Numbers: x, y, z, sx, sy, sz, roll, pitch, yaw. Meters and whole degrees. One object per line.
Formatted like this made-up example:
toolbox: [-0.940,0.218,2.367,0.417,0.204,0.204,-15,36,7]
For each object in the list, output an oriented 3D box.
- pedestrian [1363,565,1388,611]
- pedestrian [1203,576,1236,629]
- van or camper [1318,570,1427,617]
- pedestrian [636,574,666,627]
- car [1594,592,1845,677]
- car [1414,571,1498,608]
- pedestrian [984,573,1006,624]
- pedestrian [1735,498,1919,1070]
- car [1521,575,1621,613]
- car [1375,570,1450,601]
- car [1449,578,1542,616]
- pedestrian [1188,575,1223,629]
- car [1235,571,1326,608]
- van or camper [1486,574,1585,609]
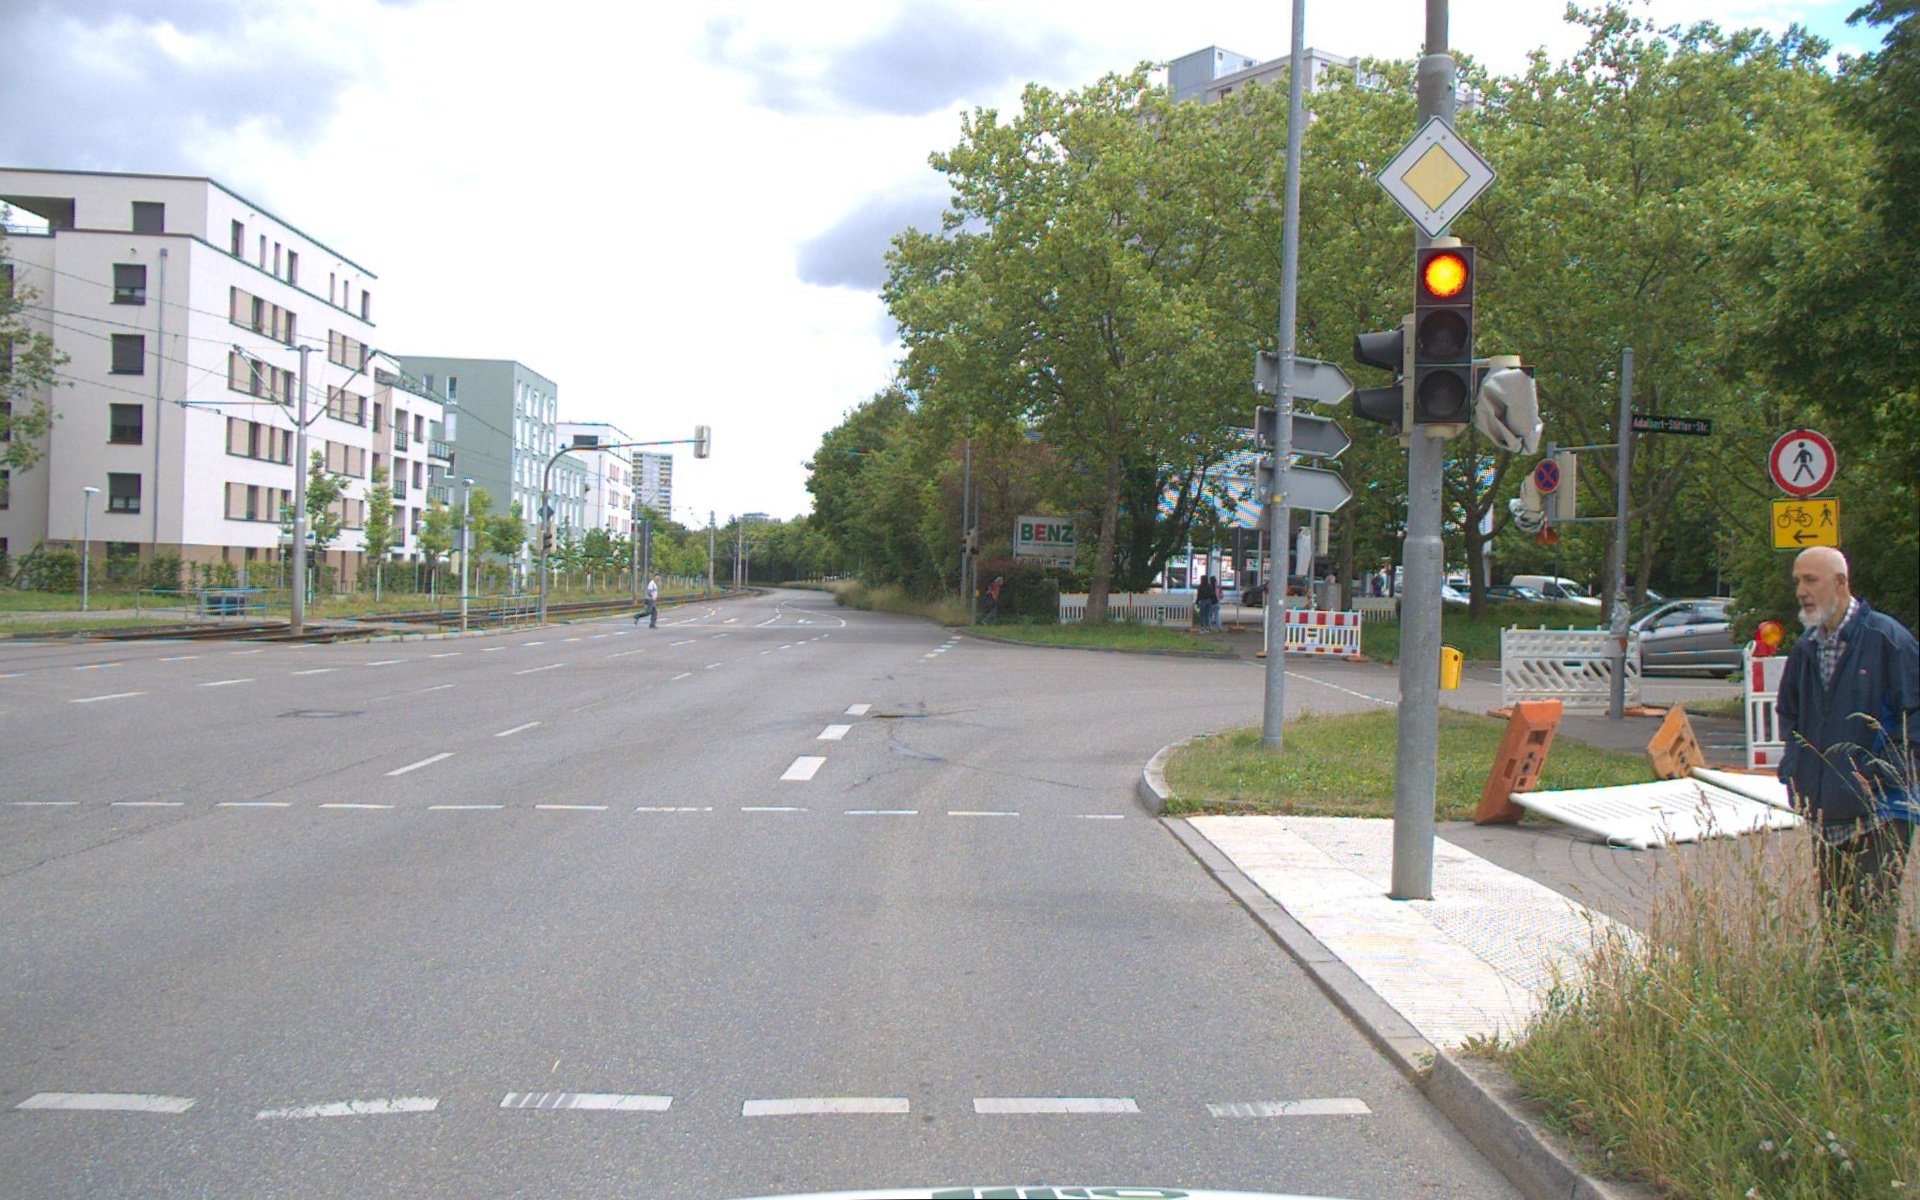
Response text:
pedestrian: [18.623,-0.523,74.140,0.789,2.037,0.852,1,-1,-5]
pedestrian: [7.505,0.060,47.859,0.675,1.515,0.696,1,-1,-18]
van or camper: [15.489,-0.260,62.234,1.819,1.713,3.964,0,1,-28]
pedestrian: [-9.517,0.027,50.927,0.832,1.614,0.795,1,-1,-6]
car: [15.482,0.691,33.861,4.307,1.614,1.772,1,0,0]
car: [24.053,-0.504,80.252,1.650,1.663,3.783,1,1,-30]
pedestrian: [1.104,-0.055,51.829,0.640,1.565,0.772,1,-1,-1]
pedestrian: [3.136,0.567,5.610,0.714,1.770,0.952,1,0,38]
car: [25.540,-0.253,69.251,1.465,1.491,3.851,1,0,-31]
car: [21.468,-0.691,78.554,1.465,1.429,3.372,1,0,-31]
car: [21.095,-0.123,65.254,1.464,1.429,3.375,1,0,-30]
pedestrian: [7.001,0.062,47.182,0.708,1.515,0.695,1,-1,-22]
car: [14.061,-0.449,72.730,1.708,1.526,4.232,1,0,-27]
van or camper: [23.594,-0.343,67.885,1.499,1.380,3.732,1,0,-33]
